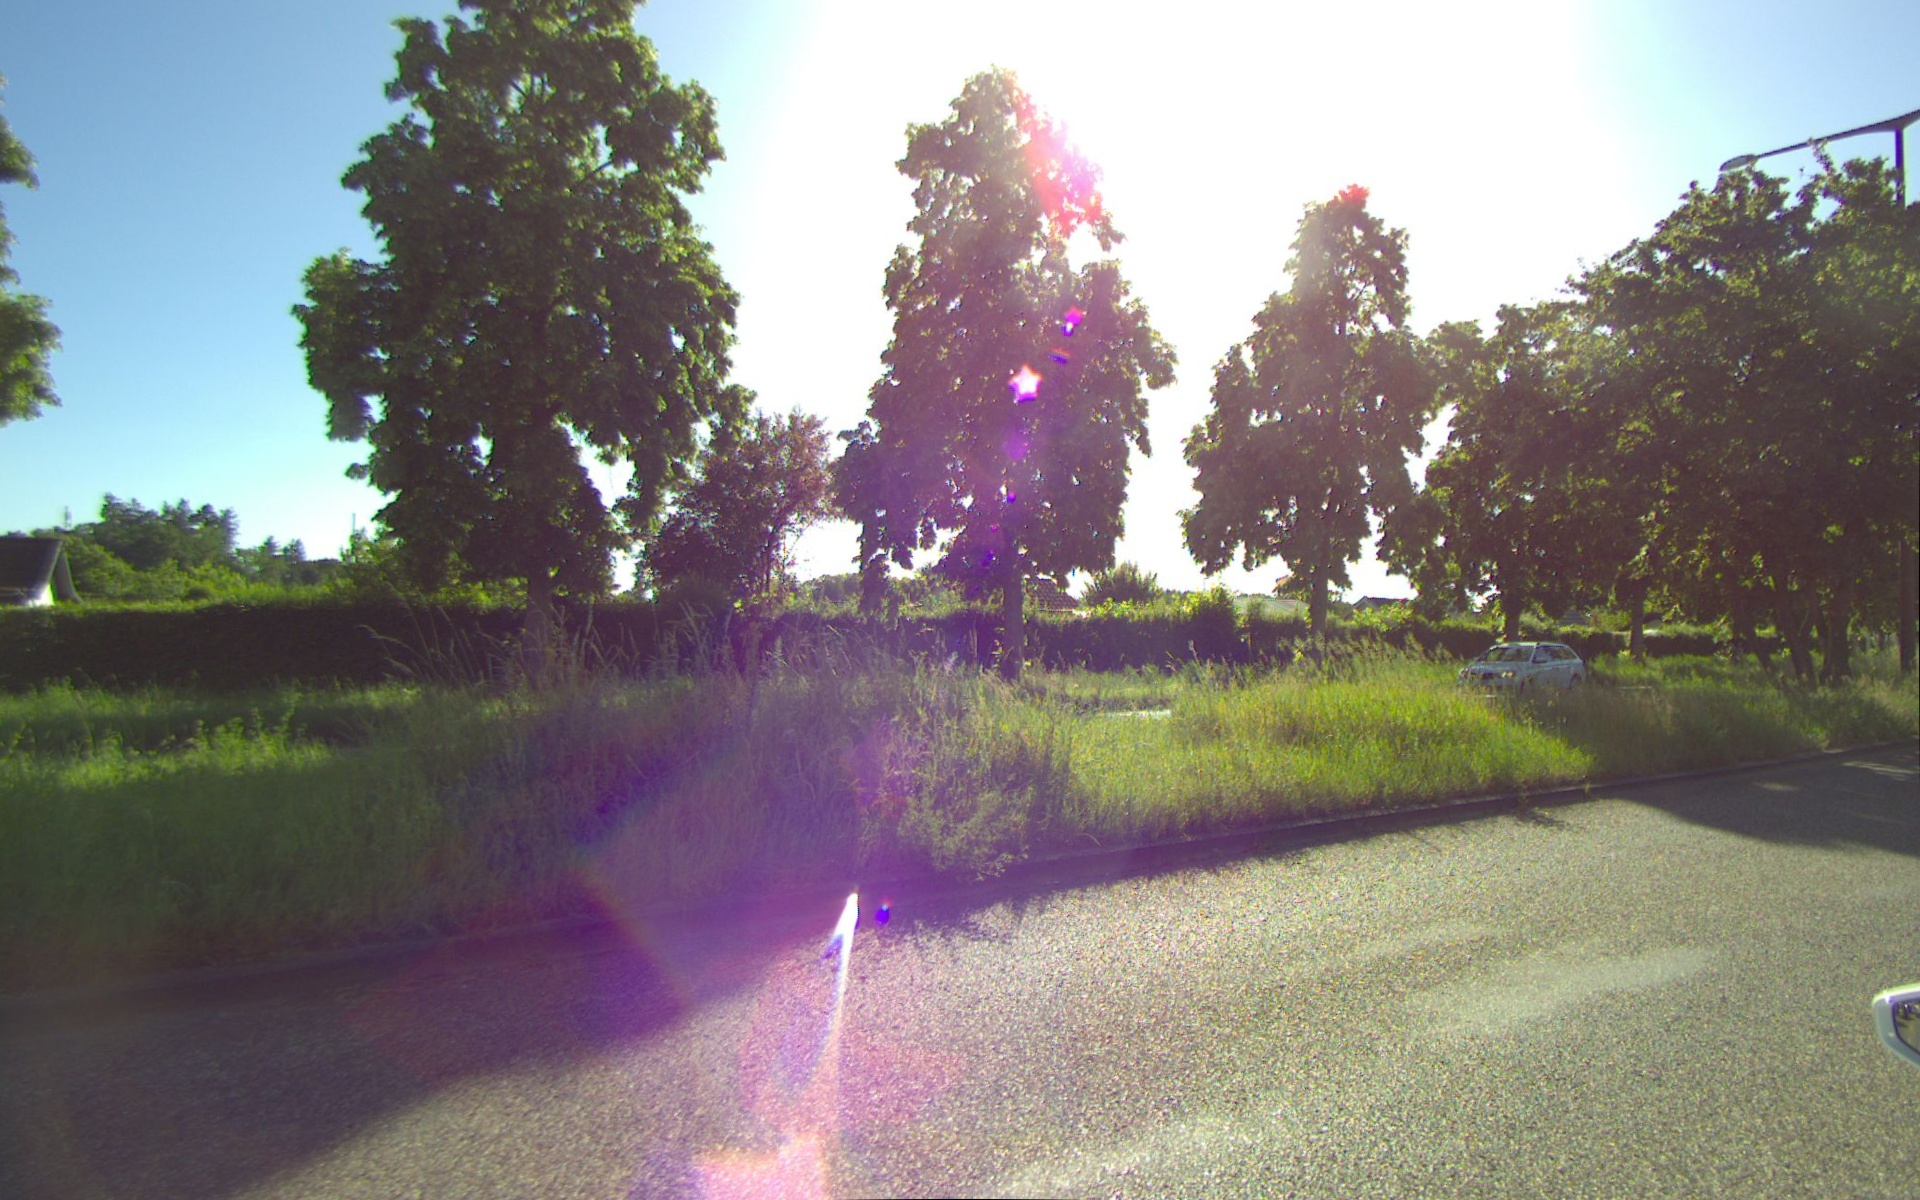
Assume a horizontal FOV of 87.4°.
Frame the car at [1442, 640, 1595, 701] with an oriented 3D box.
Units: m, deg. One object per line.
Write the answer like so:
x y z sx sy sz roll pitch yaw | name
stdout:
14.682 1.827 26.361 4.132 1.486 1.662 1 -4 -32 | car
